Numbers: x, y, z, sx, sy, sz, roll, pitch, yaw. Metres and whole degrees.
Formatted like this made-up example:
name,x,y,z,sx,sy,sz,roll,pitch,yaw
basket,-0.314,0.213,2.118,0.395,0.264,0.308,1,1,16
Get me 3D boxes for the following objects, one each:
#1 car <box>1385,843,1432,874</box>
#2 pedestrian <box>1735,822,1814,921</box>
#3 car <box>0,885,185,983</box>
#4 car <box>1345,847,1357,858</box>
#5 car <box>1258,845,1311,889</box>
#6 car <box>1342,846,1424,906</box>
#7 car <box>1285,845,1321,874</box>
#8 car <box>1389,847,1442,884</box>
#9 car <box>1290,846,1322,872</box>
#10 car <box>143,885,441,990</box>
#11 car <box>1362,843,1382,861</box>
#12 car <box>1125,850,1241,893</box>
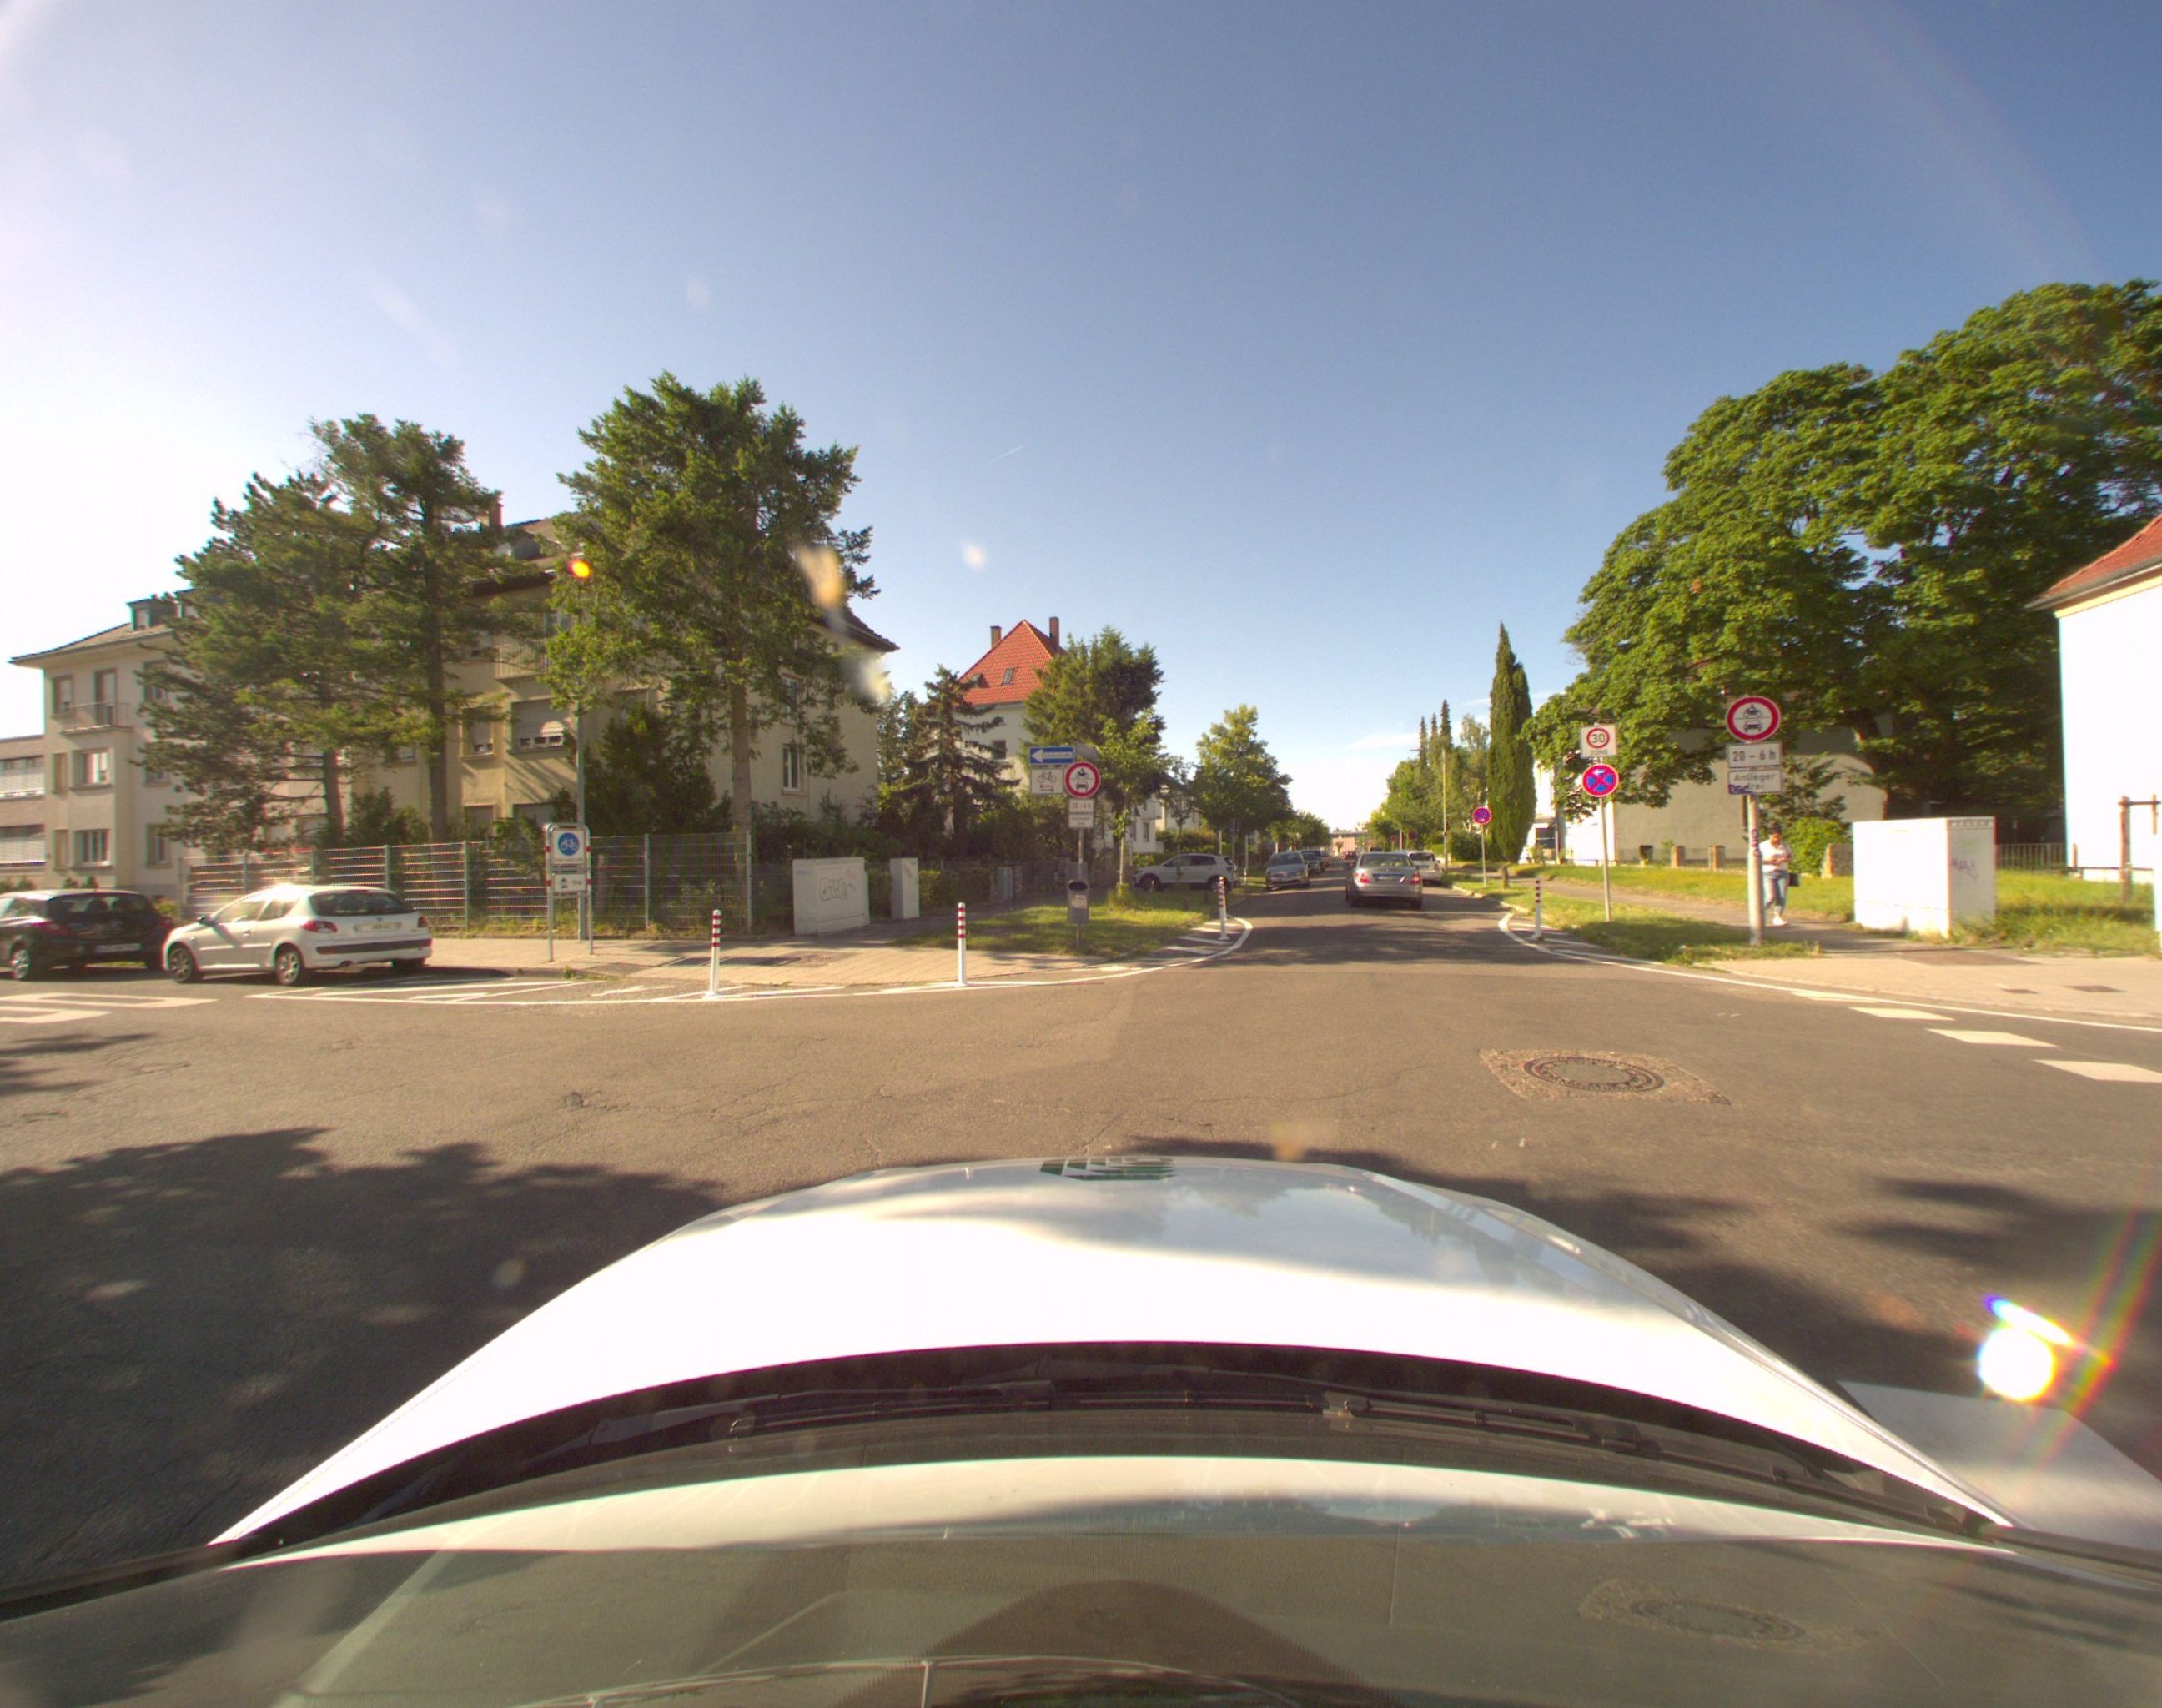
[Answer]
name,x,y,z,sx,sy,sz,roll,pitch,yaw
car,18.345,0.216,45.740,1.978,1.609,4.017,-2,0,16
pedestrian,11.727,0.290,13.805,0.759,1.611,0.838,-2,0,22
car,-17.870,1.341,14.142,3.783,1.495,1.684,-2,-1,18
car,42.465,-0.298,127.932,1.585,1.609,3.659,-2,0,16
car,8.776,0.503,34.913,1.978,1.609,4.017,-5,-1,16
car,7.942,0.529,21.605,1.821,1.441,4.019,-1,0,19
car,14.193,0.323,51.965,1.978,1.609,4.017,-5,-1,16
car,14.539,0.461,35.556,1.720,1.480,3.741,-2,0,16
car,15.909,0.306,57.527,1.978,1.609,4.017,-5,-1,16
car,-12.166,1.235,12.605,3.734,1.398,1.714,-2,-1,17
car,31.738,-0.268,88.933,1.840,1.841,4.018,-2,0,17
car,3.927,0.663,31.119,4.161,1.564,1.849,-1,0,14
